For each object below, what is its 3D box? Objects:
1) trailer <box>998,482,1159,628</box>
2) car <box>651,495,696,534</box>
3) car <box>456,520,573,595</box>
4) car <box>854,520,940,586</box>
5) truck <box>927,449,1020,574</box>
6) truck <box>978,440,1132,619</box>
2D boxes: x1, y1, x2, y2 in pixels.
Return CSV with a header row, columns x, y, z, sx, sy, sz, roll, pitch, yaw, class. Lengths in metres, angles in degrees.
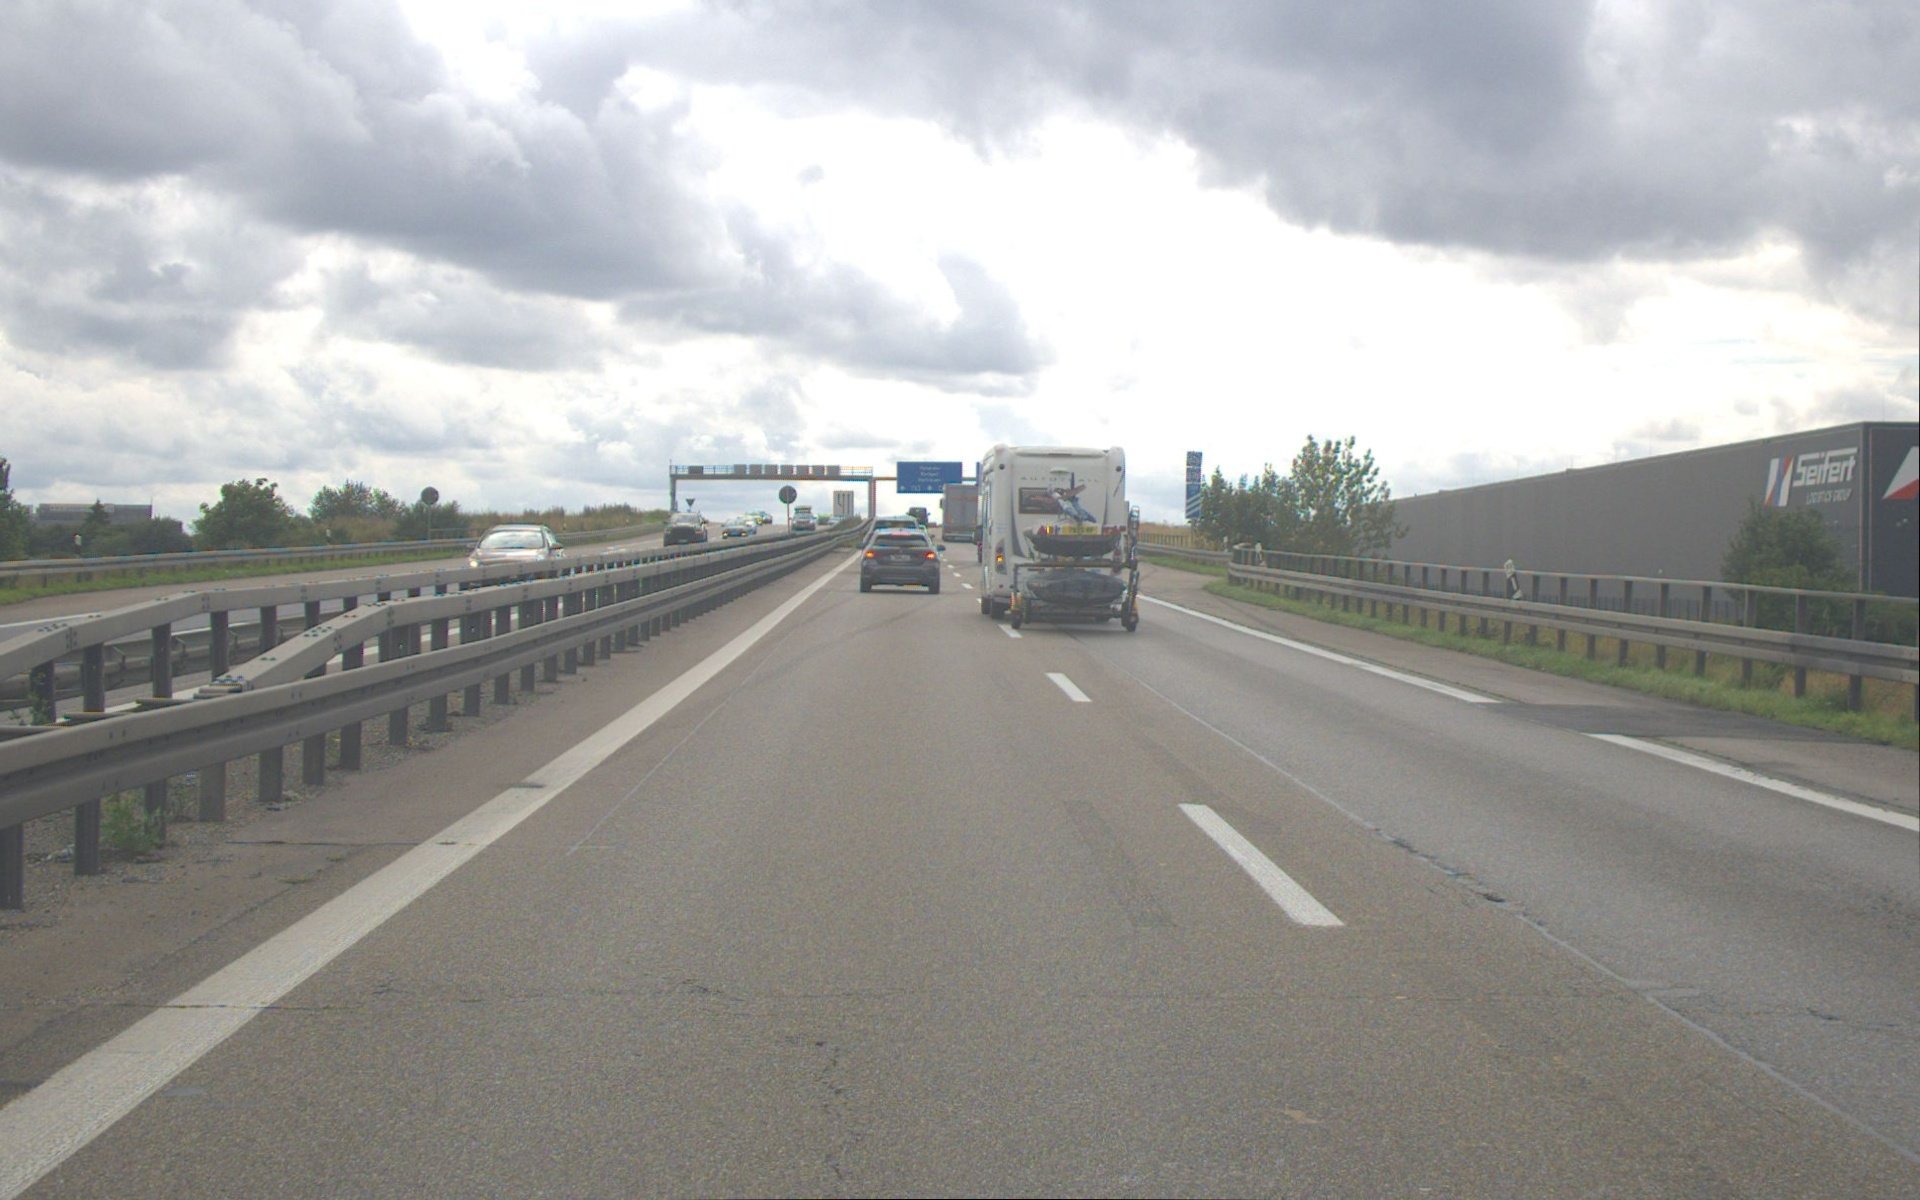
x,y,z,sx,sy,sz,roll,pitch,yaw,class
1.799,-0.682,52.414,2.338,2.129,4.000,0,0,2,trailer
-15.239,-4.553,183.095,1.993,2.006,6.103,0,2,-1,car
-9.335,-0.881,72.423,1.906,1.508,4.730,0,0,-1,car
-1.400,-1.050,78.067,1.746,1.448,4.000,0,0,2,car
0.460,-3.244,128.658,3.339,4.519,8.017,0,0,0,truck
1.584,-1.179,59.520,2.482,2.940,5.815,0,0,0,truck
